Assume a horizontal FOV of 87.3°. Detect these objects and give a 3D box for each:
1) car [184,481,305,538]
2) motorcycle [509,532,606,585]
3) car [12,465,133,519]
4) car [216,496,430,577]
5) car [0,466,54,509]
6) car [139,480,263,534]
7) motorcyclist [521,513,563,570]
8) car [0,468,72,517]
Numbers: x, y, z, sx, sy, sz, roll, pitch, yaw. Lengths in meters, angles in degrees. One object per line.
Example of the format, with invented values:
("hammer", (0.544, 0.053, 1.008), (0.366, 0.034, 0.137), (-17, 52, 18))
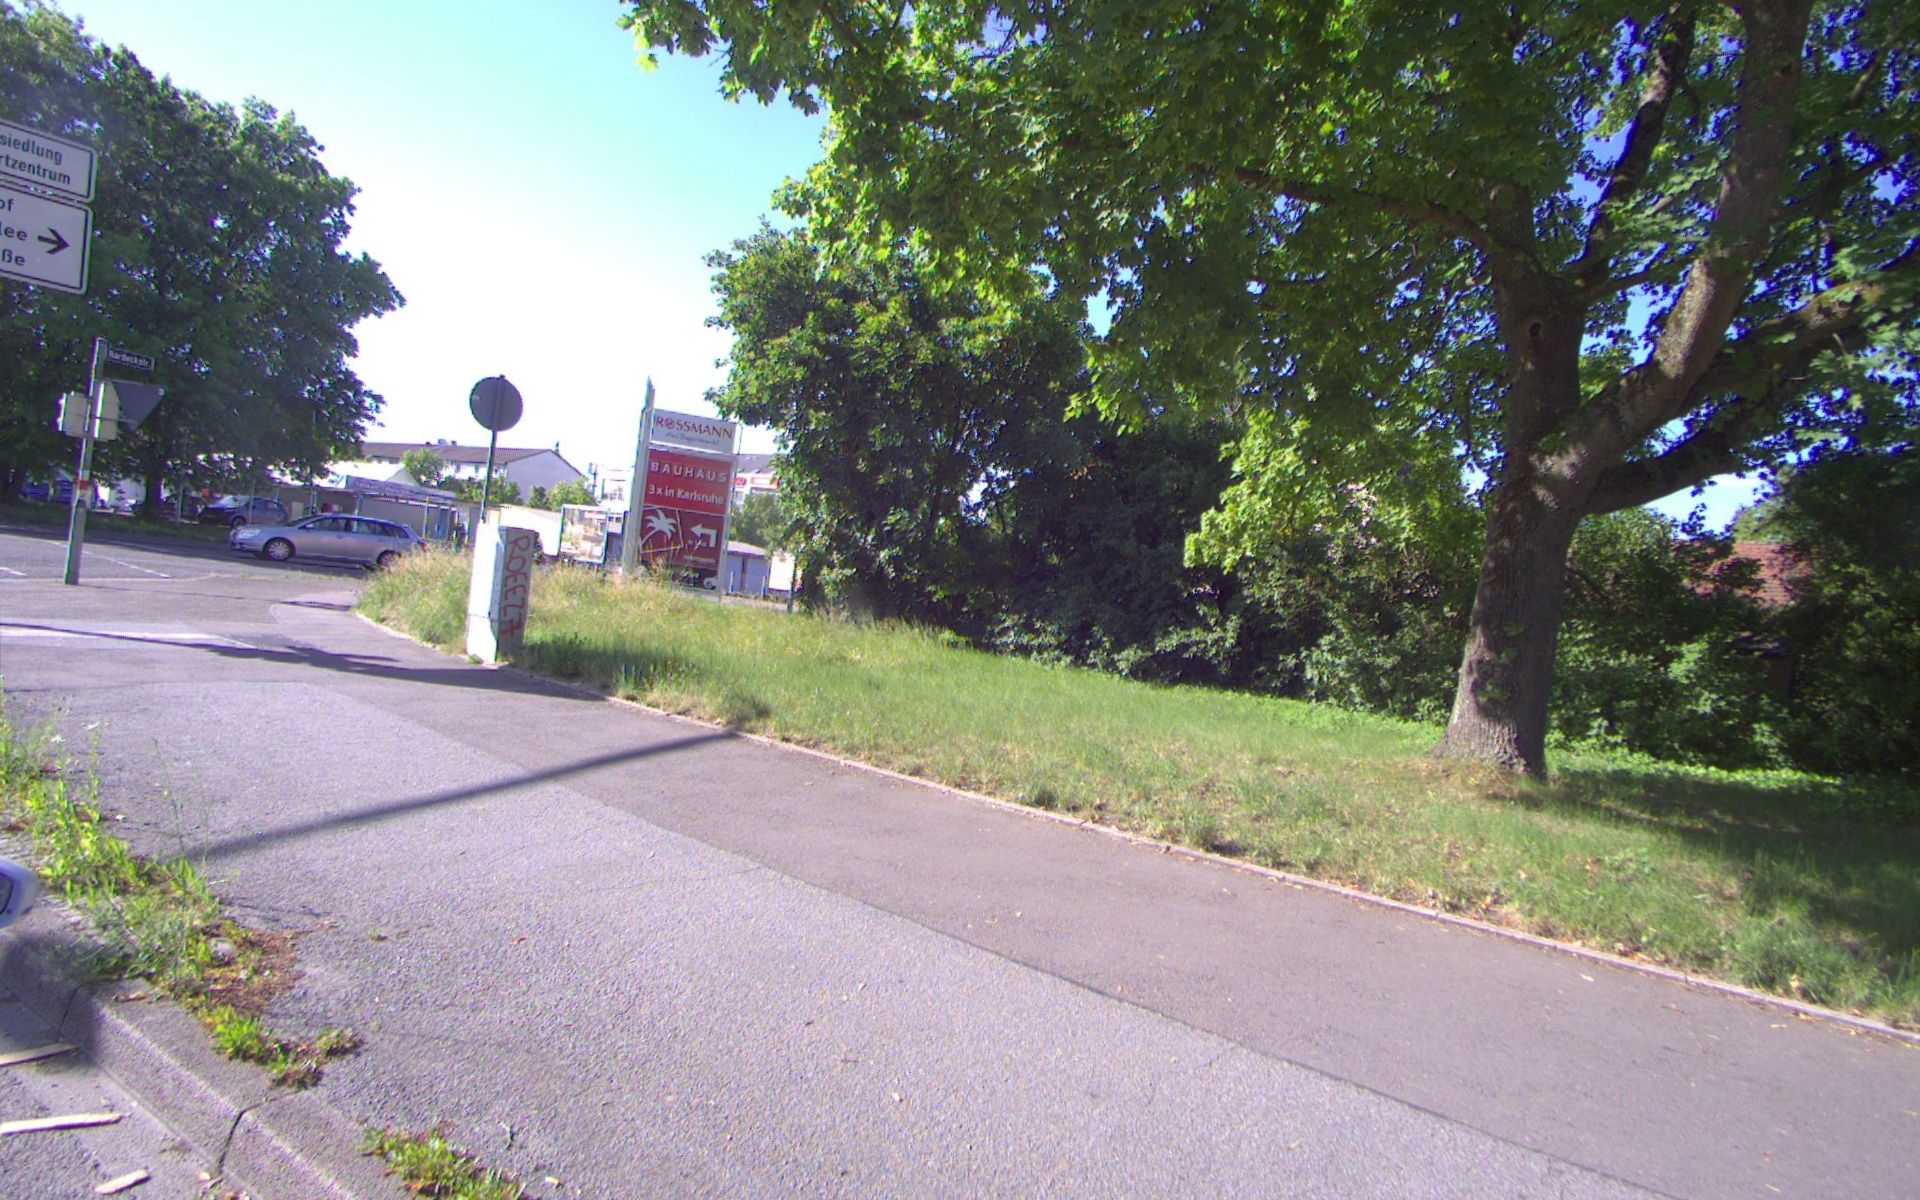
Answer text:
("car", (-30.298, -3.793, 42.730), (1.771, 1.630, 3.854), (7, -2, 12))
("motorcycle", (-13.103, -1.326, 32.815), (2.718, 1.285, 0.824), (10, -3, -43))
("car", (-39.306, -4.742, 44.695), (1.772, 1.581, 3.851), (8, -2, 0))
("car", (-17.650, -1.723, 28.048), (1.973, 1.593, 4.609), (6, -1, 43))
("car", (-46.394, -5.582, 48.371), (1.675, 1.704, 3.722), (7, -3, 29))
("car", (-32.335, -3.921, 43.003), (1.771, 1.499, 3.854), (7, -2, 12))
("motorcyclist", (-13.465, -1.895, 32.426), (0.857, 1.699, 0.824), (8, -1, -42))
("car", (-42.028, -4.870, 44.597), (1.672, 1.704, 3.729), (7, -2, 6))
